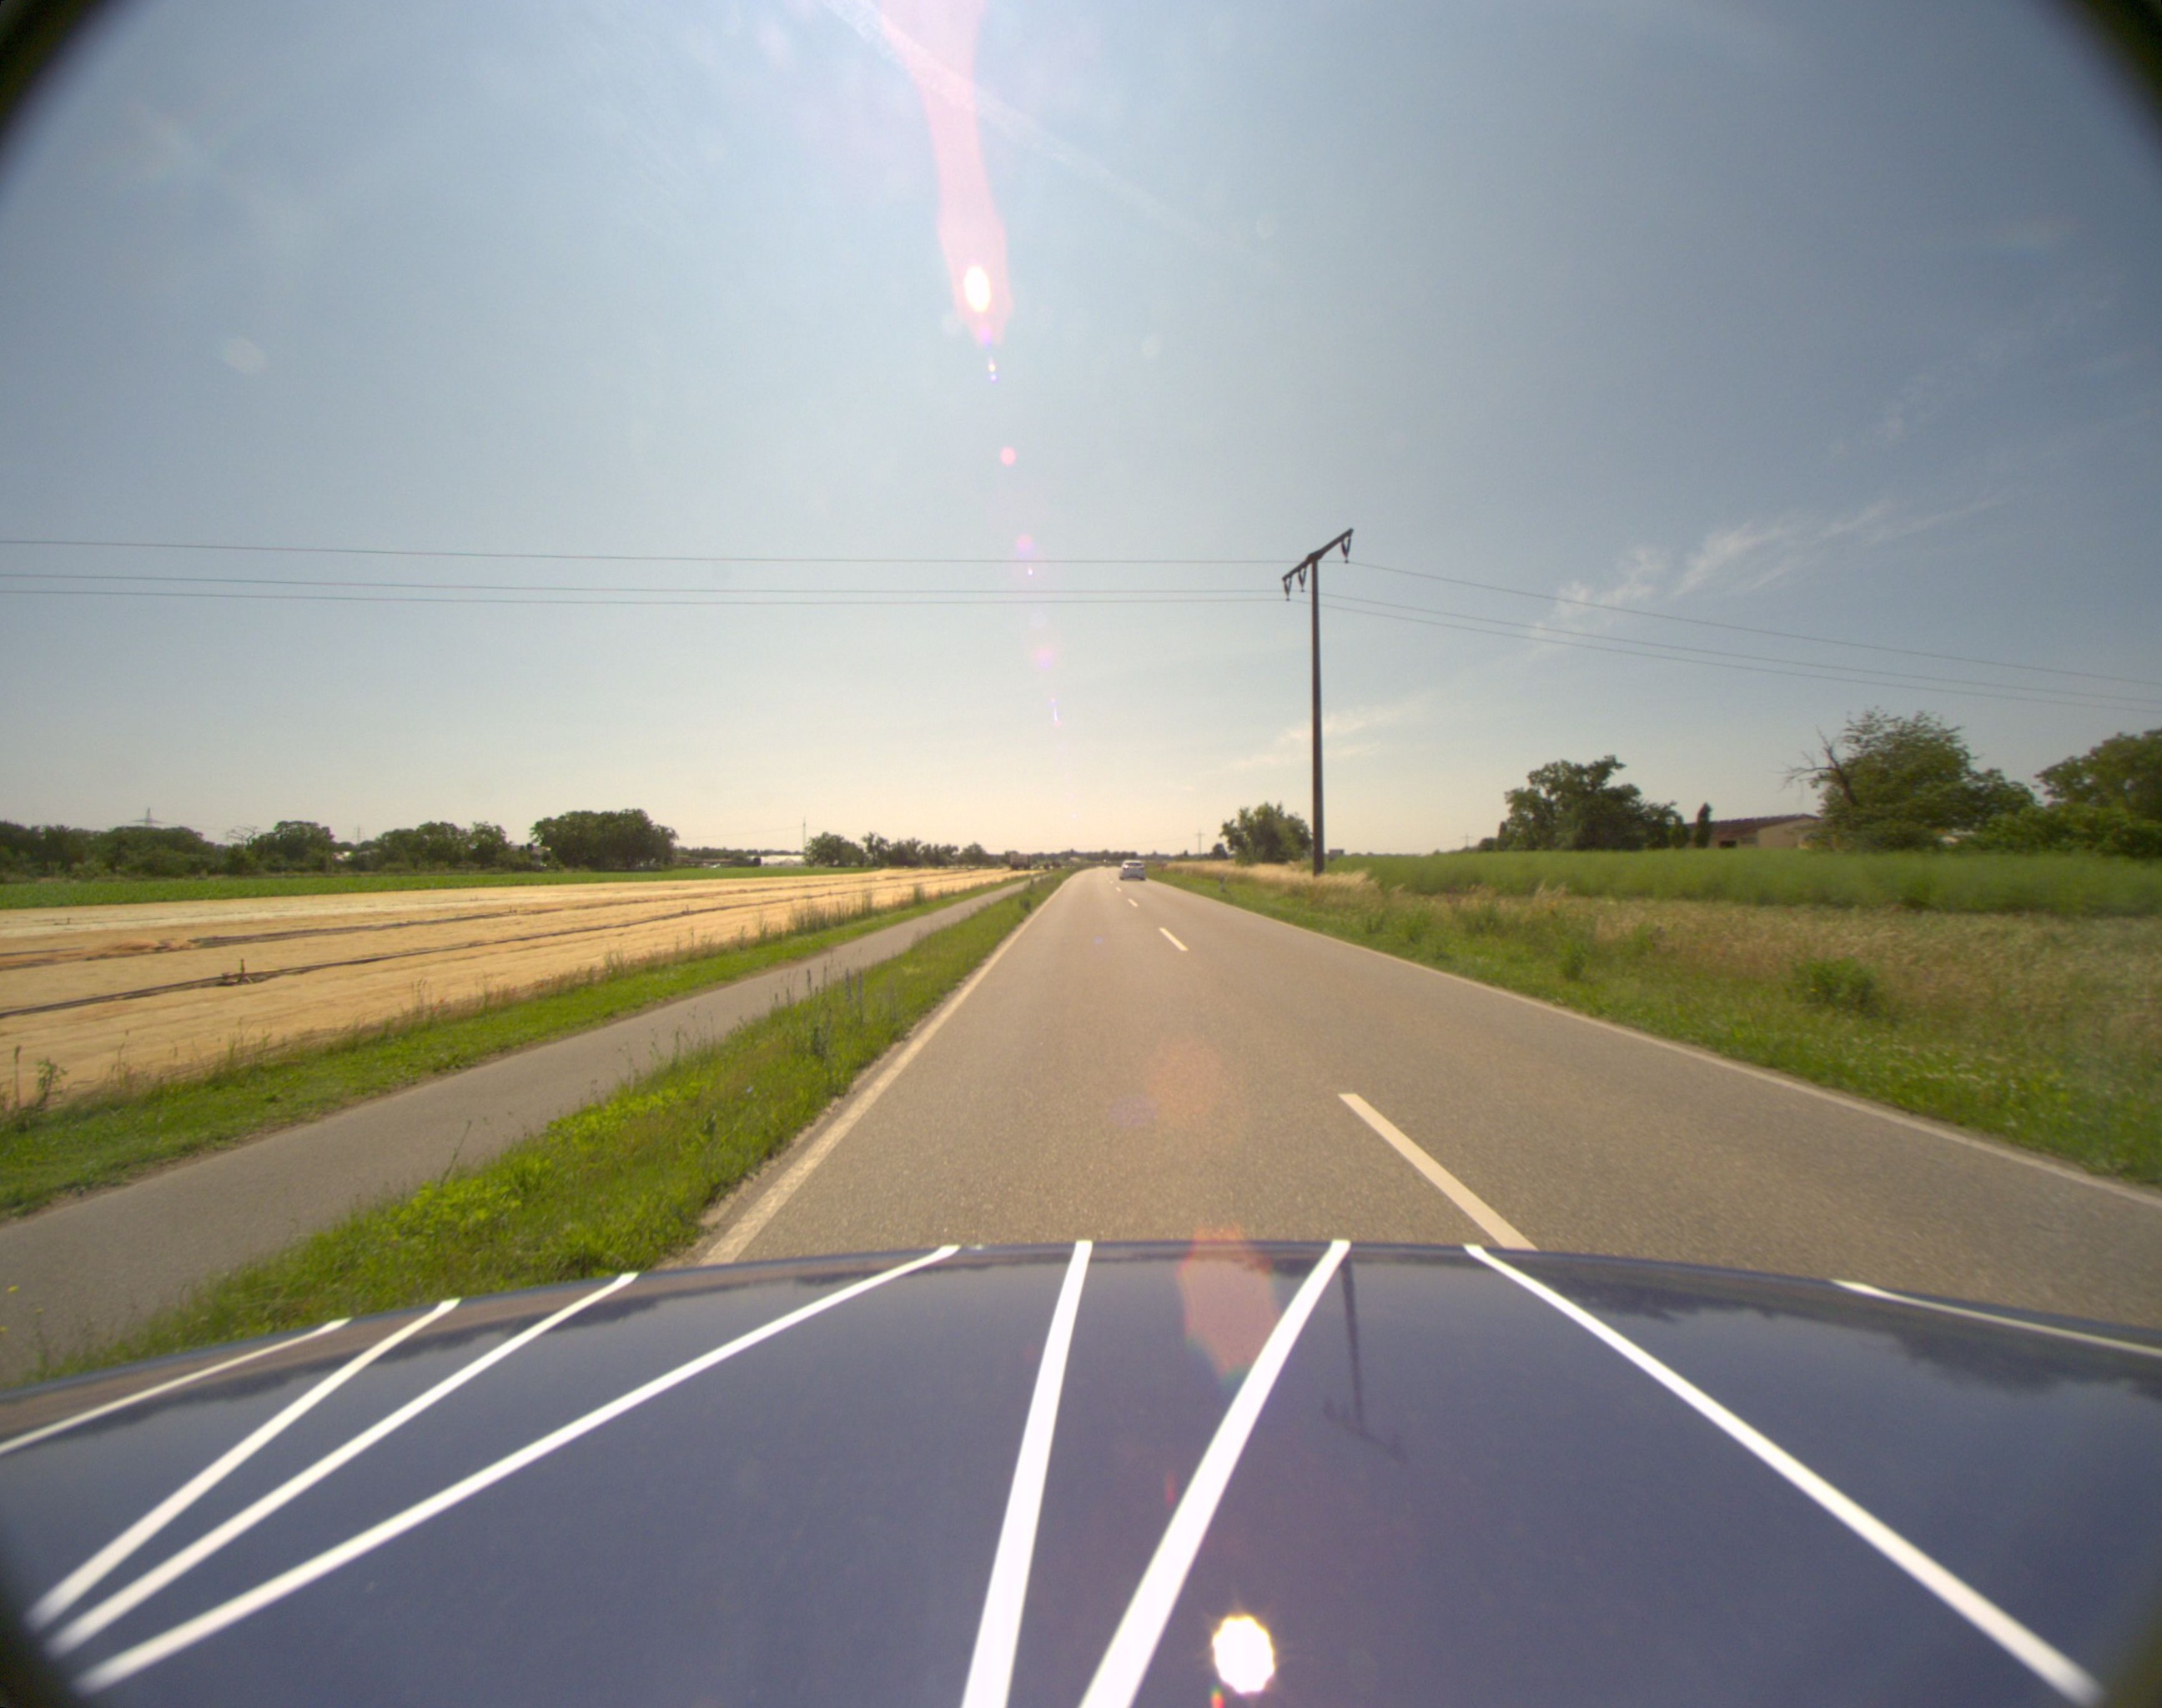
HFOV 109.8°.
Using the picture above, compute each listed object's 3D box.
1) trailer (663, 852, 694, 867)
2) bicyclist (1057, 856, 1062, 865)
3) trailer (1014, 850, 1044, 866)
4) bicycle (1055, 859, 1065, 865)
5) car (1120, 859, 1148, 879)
[{"bbox_3d":[-111.908,1.550,211.280,7.428,4.196,3.161,-1,0,13],"label":"trailer"},{"bbox_3d":[-4.142,1.216,147.582,0.700,1.747,0.663,-1,0,19],"label":"bicyclist"},{"bbox_3d":[-9.673,0.724,141.943,5.283,2.935,2.003,0,2,21],"label":"trailer"},{"bbox_3d":[-4.052,1.577,147.557,1.920,0.986,0.683,-1,0,19],"label":"bicycle"},{"bbox_3d":[3.910,1.095,56.341,1.796,1.401,4.185,0,0,0],"label":"car"}]
